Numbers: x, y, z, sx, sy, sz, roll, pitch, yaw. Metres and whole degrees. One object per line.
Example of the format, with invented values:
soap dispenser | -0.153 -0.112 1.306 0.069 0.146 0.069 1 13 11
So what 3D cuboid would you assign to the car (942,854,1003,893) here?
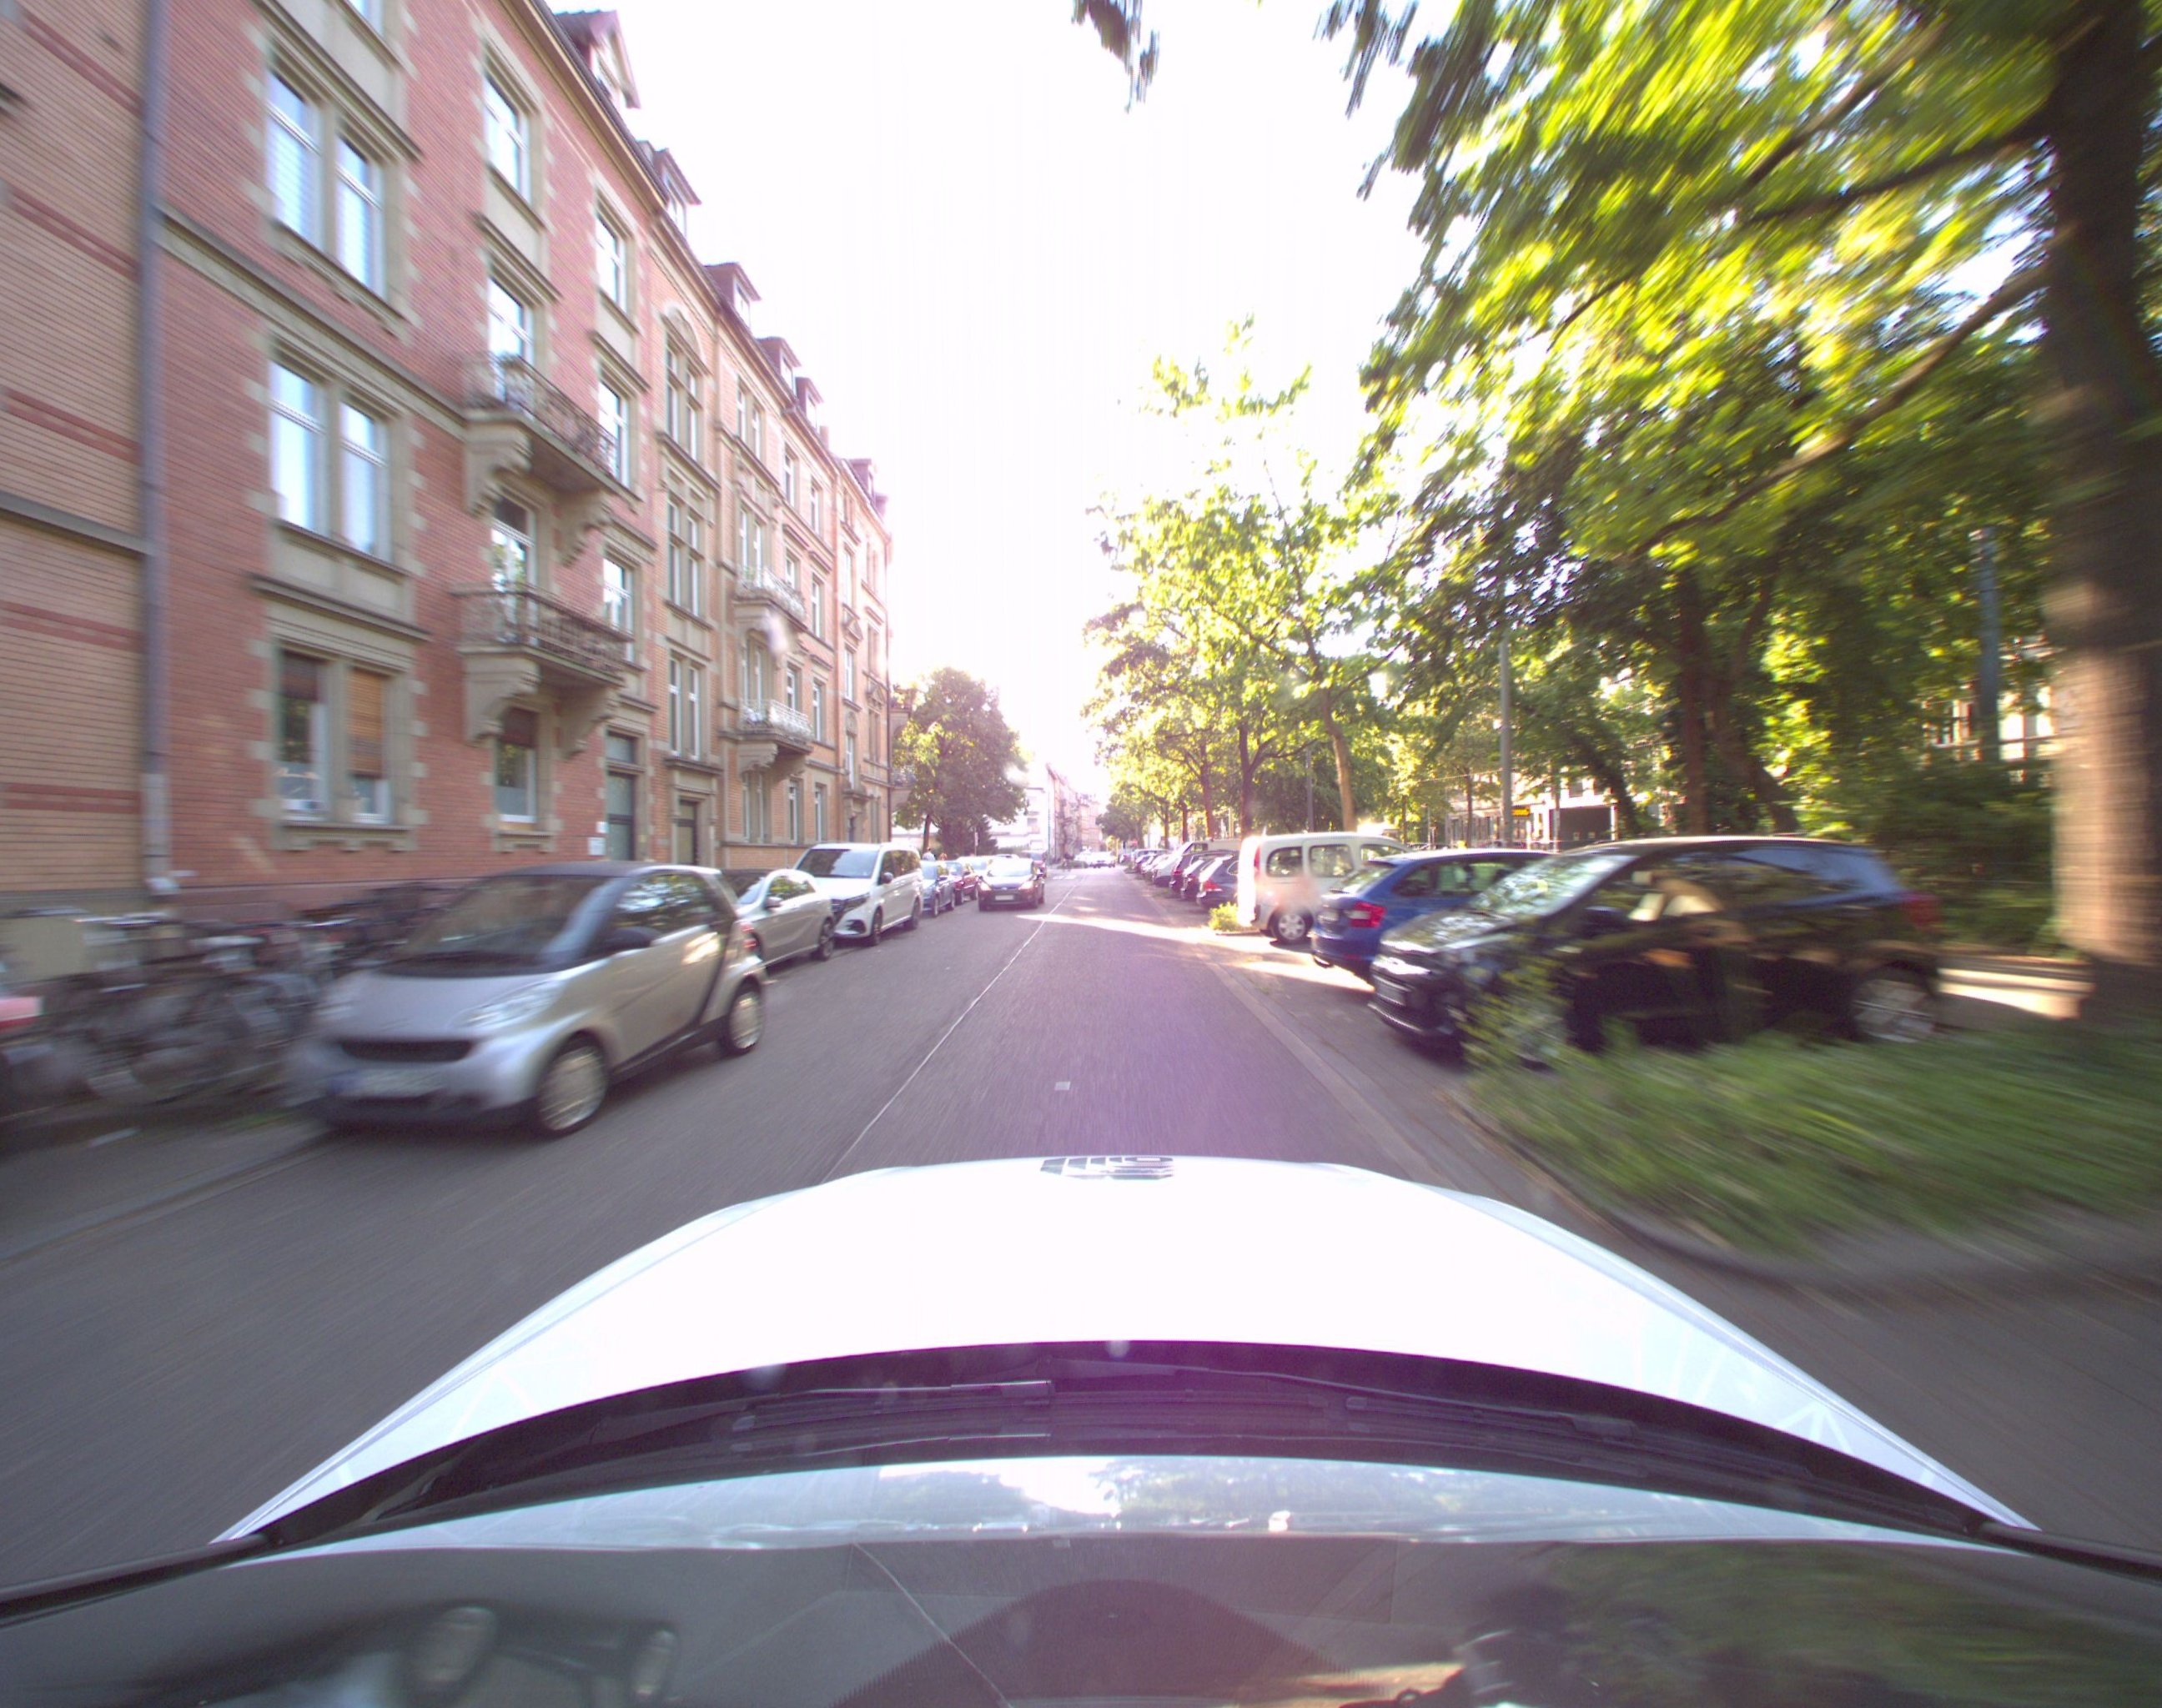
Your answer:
car | -4.320 0.737 33.023 1.696 1.429 3.880 1 0 3

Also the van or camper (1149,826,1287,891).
van or camper | 5.166 0.196 31.248 4.966 2.377 2.184 0 -2 -1

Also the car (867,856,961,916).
car | -4.467 0.807 22.350 1.664 1.486 4.000 1 0 1

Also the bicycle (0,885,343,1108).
bicycle | -5.747 0.798 4.784 2.091 1.215 0.439 0 -2 -14

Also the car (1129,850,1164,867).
car | 7.972 0.535 98.544 3.959 2.014 2.007 0 -2 13

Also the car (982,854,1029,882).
car | -3.968 0.710 43.555 1.748 1.466 4.273 0 0 5

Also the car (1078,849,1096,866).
car | 0.714 0.439 93.711 1.987 1.838 3.999 0 -2 1

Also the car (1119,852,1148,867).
car | 7.660 0.826 119.015 3.959 2.014 2.007 0 -2 13

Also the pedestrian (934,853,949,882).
pedestrian | -7.655 0.712 44.732 0.595 1.550 0.709 -1 2 1

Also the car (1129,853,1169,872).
car | 7.312 0.900 87.458 3.959 2.014 2.007 0 -2 13

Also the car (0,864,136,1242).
car | -5.194 0.809 1.698 1.744 1.546 4.145 0 0 -4

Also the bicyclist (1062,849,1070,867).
bicyclist | -1.337 0.375 73.266 0.628 1.573 0.799 0 -2 -12

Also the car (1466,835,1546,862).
car | 28.302 -0.314 54.453 4.656 1.684 2.011 -1 -2 25

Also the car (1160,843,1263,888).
car | 5.375 0.461 33.810 3.975 1.817 1.858 0 0 -2

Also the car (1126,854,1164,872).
car | 7.159 1.028 90.997 3.959 2.014 2.007 0 -2 13

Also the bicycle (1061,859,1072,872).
bicycle | -1.324 1.021 73.199 0.641 1.100 1.936 0 -2 -12

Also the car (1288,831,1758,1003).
car | 4.501 0.604 8.737 4.069 1.442 1.761 -3 0 -1

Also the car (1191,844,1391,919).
car | 4.700 0.612 18.715 4.199 1.453 1.651 -3 0 5

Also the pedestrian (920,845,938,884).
pedestrian | -6.814 0.462 36.474 0.595 1.668 0.709 -1 2 1

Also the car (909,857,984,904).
car | -4.451 0.840 27.585 1.664 1.429 4.243 0 0 2

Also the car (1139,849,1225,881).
car | 5.394 0.590 43.859 4.377 1.699 1.858 0 -2 -2

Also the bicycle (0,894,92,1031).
bicycle | -9.247 0.903 6.492 0.424 1.130 1.771 0 -2 5

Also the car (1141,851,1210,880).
car | 5.682 0.696 49.220 3.975 1.699 1.858 0 -2 -2

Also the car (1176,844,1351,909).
car | 4.735 0.579 21.612 4.203 1.453 1.866 -3 0 2

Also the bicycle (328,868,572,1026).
bicycle | -5.577 0.804 7.249 1.757 1.348 0.496 0 -2 1

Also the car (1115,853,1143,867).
car | 7.194 0.929 122.594 3.959 2.014 2.007 0 -2 13

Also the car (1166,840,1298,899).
car | 4.878 0.495 26.689 3.971 1.691 1.860 -3 0 2

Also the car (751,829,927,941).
car | -4.628 0.606 16.517 1.987 1.921 5.039 0 -2 1

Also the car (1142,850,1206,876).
car | 6.124 0.634 53.876 3.975 1.699 1.858 0 -2 -2

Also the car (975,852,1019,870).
car | -8.042 0.679 78.223 3.971 1.706 2.001 0 -2 2

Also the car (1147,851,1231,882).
car | 5.422 0.628 41.240 3.975 1.548 1.858 0 -2 -2

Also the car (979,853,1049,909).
car | -1.933 0.747 24.555 1.662 1.464 4.000 -2 0 1

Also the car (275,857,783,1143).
car | -3.411 0.774 5.651 1.498 1.435 2.755 -2 0 3

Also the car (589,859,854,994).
car | -4.746 0.857 11.515 1.667 1.454 4.212 -2 0 2

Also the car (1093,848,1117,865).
car | 2.488 0.262 83.686 1.767 1.674 4.500 0 0 10

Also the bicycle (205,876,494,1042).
bicycle | -5.538 0.774 6.213 1.757 1.215 0.464 0 -2 1

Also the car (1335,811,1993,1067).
car | 4.042 0.562 6.183 3.660 1.501 1.763 -3 0 2

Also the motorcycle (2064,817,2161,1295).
motorcycle | 4.208 0.604 2.055 1.853 1.462 1.265 0 -2 3

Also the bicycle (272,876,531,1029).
bicycle | -5.573 0.789 6.724 1.757 1.215 0.428 0 -2 1

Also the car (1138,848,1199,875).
car | 5.981 0.554 56.179 3.975 1.825 1.858 0 -2 -2

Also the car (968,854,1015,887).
car | -4.218 0.750 38.960 1.750 1.515 4.162 0 0 1

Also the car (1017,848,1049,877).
car | -3.353 0.590 57.744 1.950 2.018 4.269 0 0 1

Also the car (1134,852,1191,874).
car | 5.858 0.678 58.855 3.975 1.563 1.858 0 -2 -2

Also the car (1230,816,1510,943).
car | 4.854 0.423 14.151 4.203 1.864 1.763 -3 0 2

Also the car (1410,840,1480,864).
car | 27.071 -0.135 60.606 4.657 1.684 2.011 -1 -2 24

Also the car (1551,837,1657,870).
car | 28.785 0.019 45.027 4.656 1.684 2.011 -1 -2 25

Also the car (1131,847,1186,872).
car | 5.852 0.431 61.534 3.975 1.794 1.858 0 -2 -2

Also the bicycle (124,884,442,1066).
bicycle | -5.537 0.820 5.695 1.757 1.215 0.441 0 -2 1
